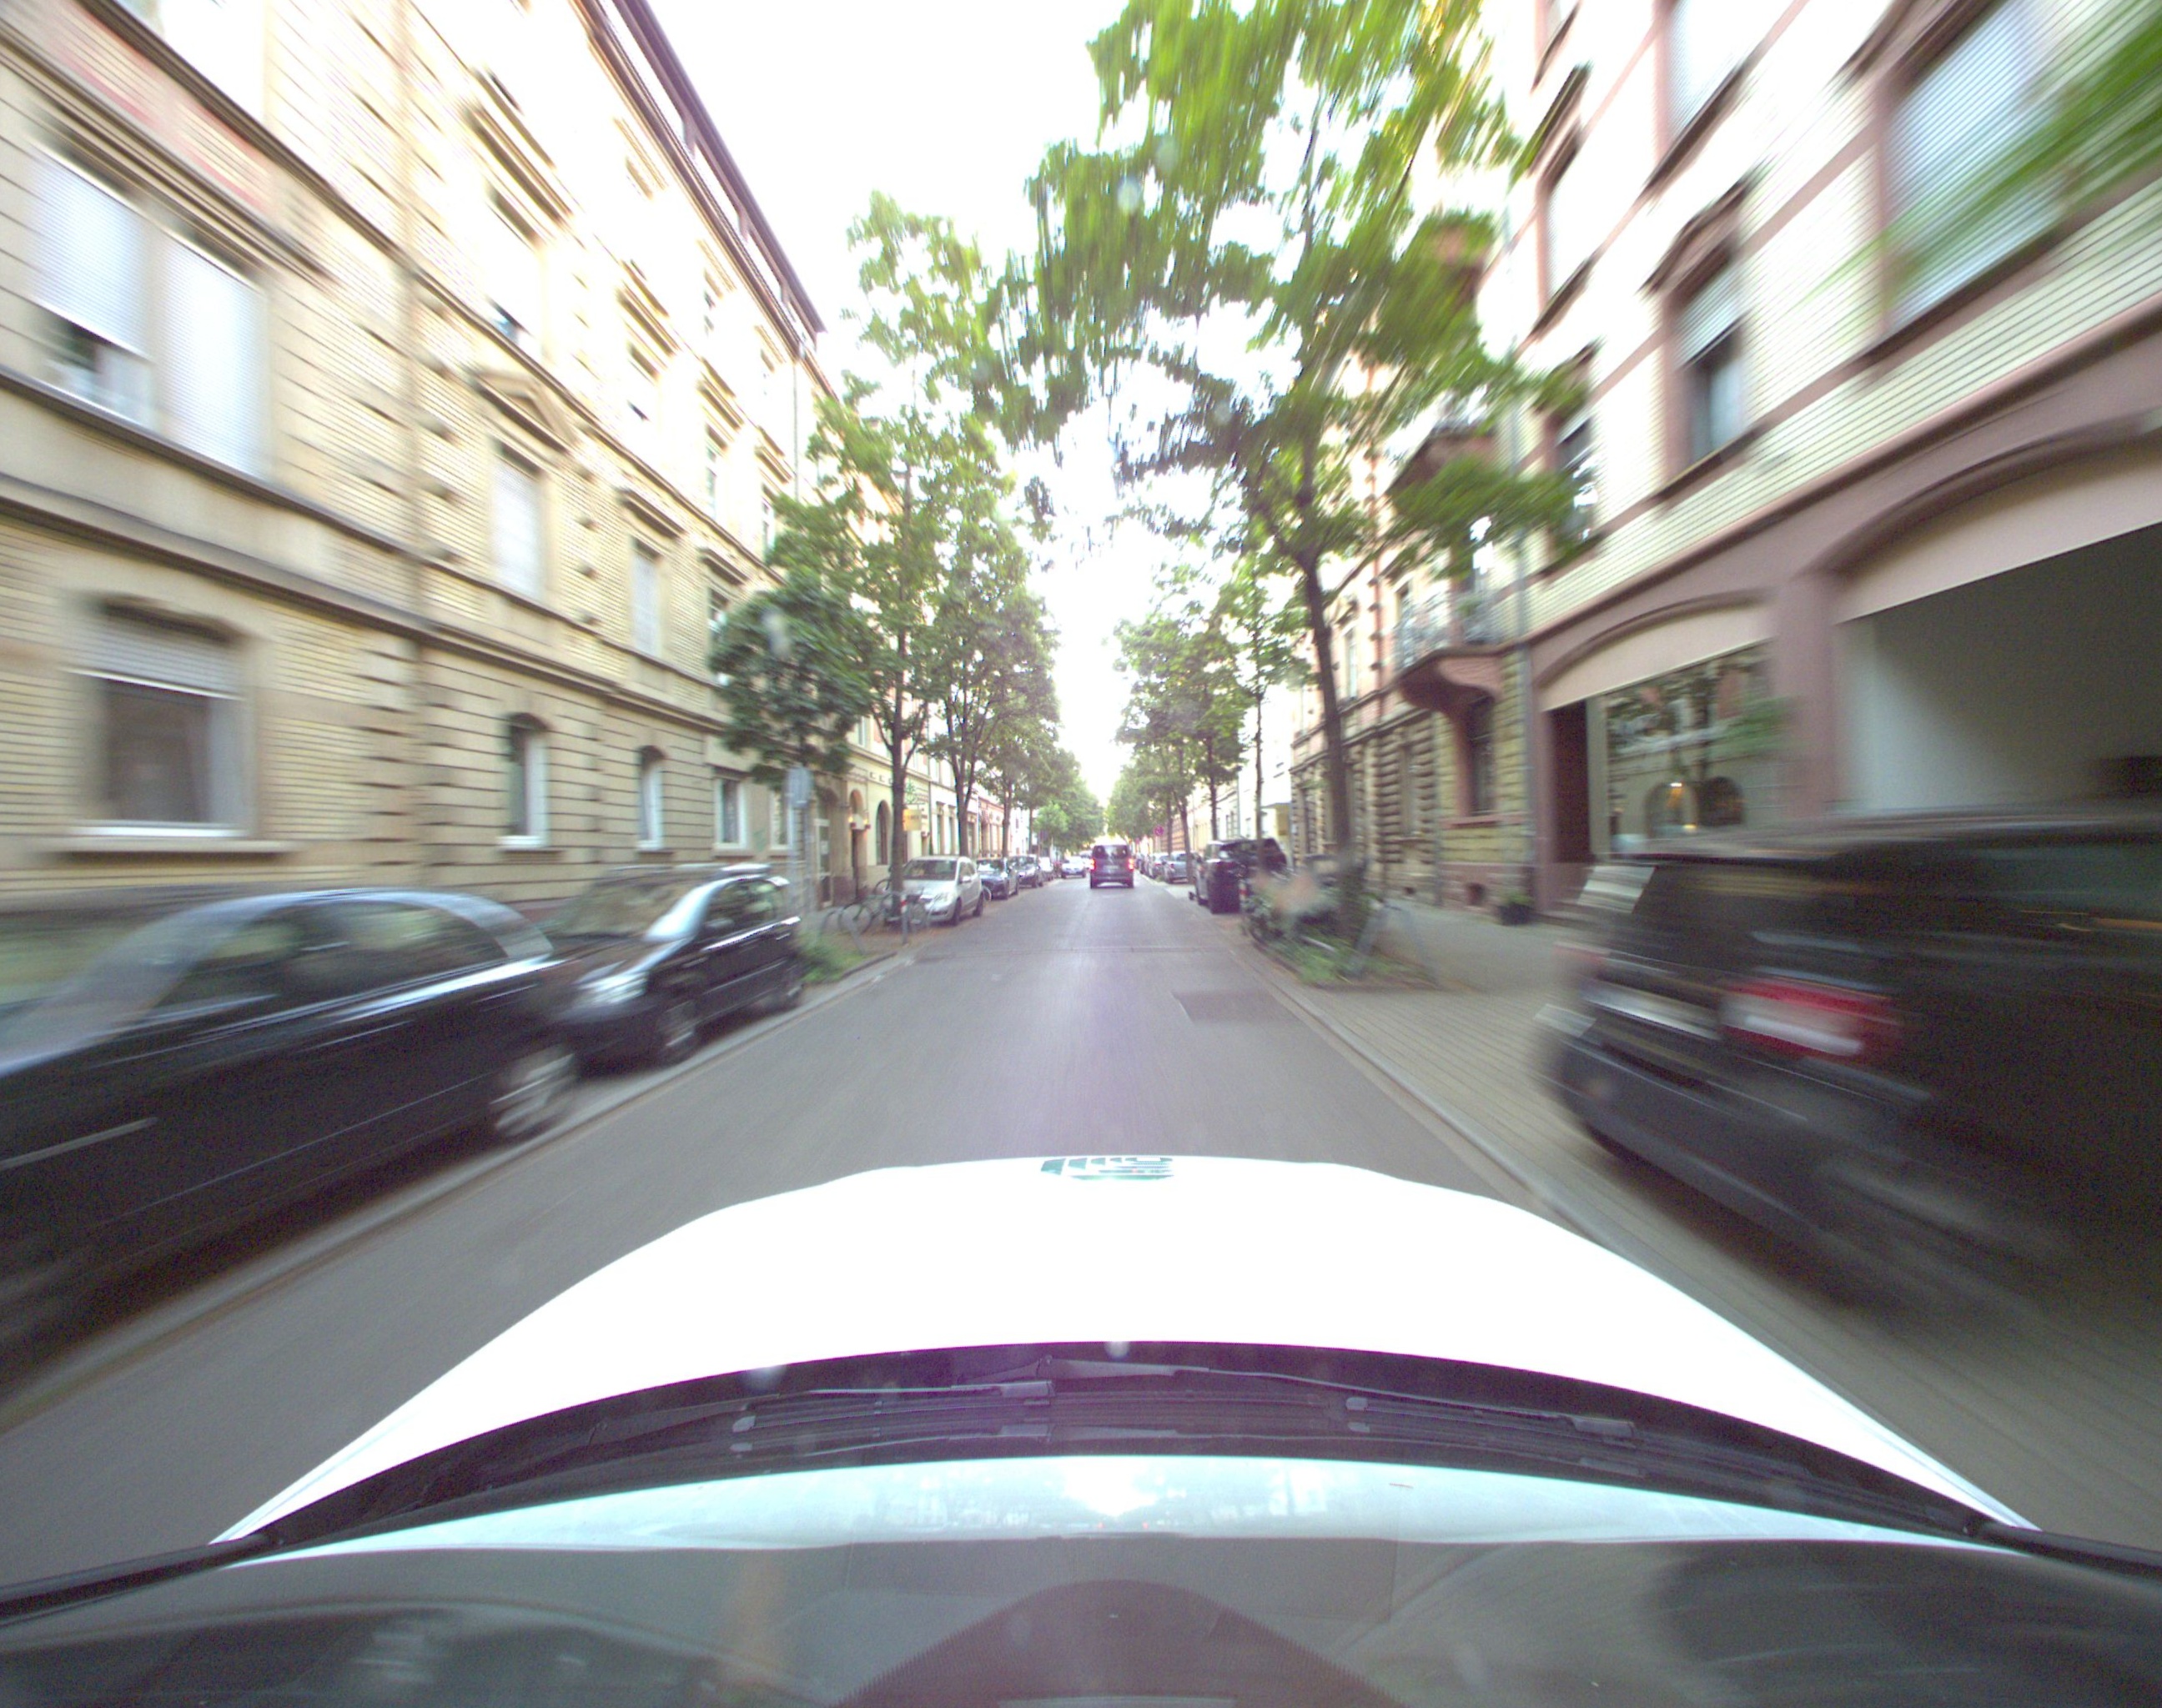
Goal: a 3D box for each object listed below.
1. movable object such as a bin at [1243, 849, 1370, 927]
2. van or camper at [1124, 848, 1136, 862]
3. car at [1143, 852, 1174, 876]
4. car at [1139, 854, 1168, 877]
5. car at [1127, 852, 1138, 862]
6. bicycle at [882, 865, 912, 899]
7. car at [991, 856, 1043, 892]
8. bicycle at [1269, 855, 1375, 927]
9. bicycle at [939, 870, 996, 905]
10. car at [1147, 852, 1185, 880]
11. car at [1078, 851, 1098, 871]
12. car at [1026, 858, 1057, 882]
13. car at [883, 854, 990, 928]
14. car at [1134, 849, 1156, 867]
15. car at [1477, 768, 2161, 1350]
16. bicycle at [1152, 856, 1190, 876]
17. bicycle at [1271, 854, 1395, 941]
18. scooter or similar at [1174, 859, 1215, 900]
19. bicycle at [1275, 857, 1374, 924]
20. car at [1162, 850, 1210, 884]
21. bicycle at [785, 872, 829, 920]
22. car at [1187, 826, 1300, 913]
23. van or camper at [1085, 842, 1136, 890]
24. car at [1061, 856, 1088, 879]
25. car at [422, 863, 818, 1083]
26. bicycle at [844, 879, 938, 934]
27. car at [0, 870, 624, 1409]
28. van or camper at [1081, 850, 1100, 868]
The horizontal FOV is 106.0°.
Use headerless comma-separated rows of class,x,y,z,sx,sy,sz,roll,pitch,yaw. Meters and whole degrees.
movable object such as a bin,4.380,0.644,15.958,2.205,1.305,0.772,-5,0,4
van or camper,9.040,0.174,149.917,1.986,2.599,5.425,-2,0,1
car,5.042,0.651,53.325,1.630,1.424,3.565,-3,0,1
car,5.150,0.786,58.328,1.759,1.415,4.477,-4,0,3
car,7.940,0.520,126.215,1.543,1.496,3.615,-2,0,5
bicycle,-6.361,0.939,28.222,0.524,1.097,1.796,-2,0,3
car,-2.870,0.868,37.342,1.799,1.518,4.688,-1,0,2
bicycle,4.262,0.651,14.464,1.688,1.198,0.583,-2,0,5
bicycle,-3.465,1.019,24.923,1.676,1.003,0.430,1,0,3
car,4.938,0.672,47.714,1.711,1.476,4.368,-4,0,1
car,0.569,0.605,71.930,1.658,1.563,3.998,-2,0,-1
car,-2.405,0.951,50.124,1.581,1.437,3.567,0,0,2
car,-3.471,0.837,20.262,1.668,1.607,3.866,-1,0,4
car,5.750,0.333,73.226,1.622,1.466,4.245,-2,0,0
car,3.457,0.542,3.259,2.786,1.599,1.802,-5,0,2
bicycle,4.954,0.662,44.811,1.922,0.982,0.634,-2,0,-20
bicycle,4.198,0.709,13.648,1.755,1.294,0.802,-4,0,1
scooter or similar,3.523,0.781,25.344,0.667,1.190,1.123,-5,-1,42
bicycle,4.490,0.665,15.084,1.650,1.143,0.583,-2,0,5
car,4.909,0.569,38.538,1.752,1.463,4.309,-3,0,2
bicycle,-6.904,1.035,20.551,0.459,1.089,1.631,1,1,3
car,4.046,0.346,21.098,2.006,1.833,4.813,-4,0,2
van or camper,1.350,0.500,35.693,2.026,1.897,4.275,-2,0,4
car,-0.386,0.899,54.562,1.574,1.420,3.755,-2,0,2
car,-3.822,0.859,7.506,1.513,1.501,3.563,-1,0,2
bicycle,-3.941,1.074,16.864,1.868,1.060,0.593,0,-1,-17
car,-3.945,0.865,3.585,1.685,1.501,3.713,-1,0,1
van or camper,1.052,0.542,87.193,1.870,1.843,4.753,-3,0,1
